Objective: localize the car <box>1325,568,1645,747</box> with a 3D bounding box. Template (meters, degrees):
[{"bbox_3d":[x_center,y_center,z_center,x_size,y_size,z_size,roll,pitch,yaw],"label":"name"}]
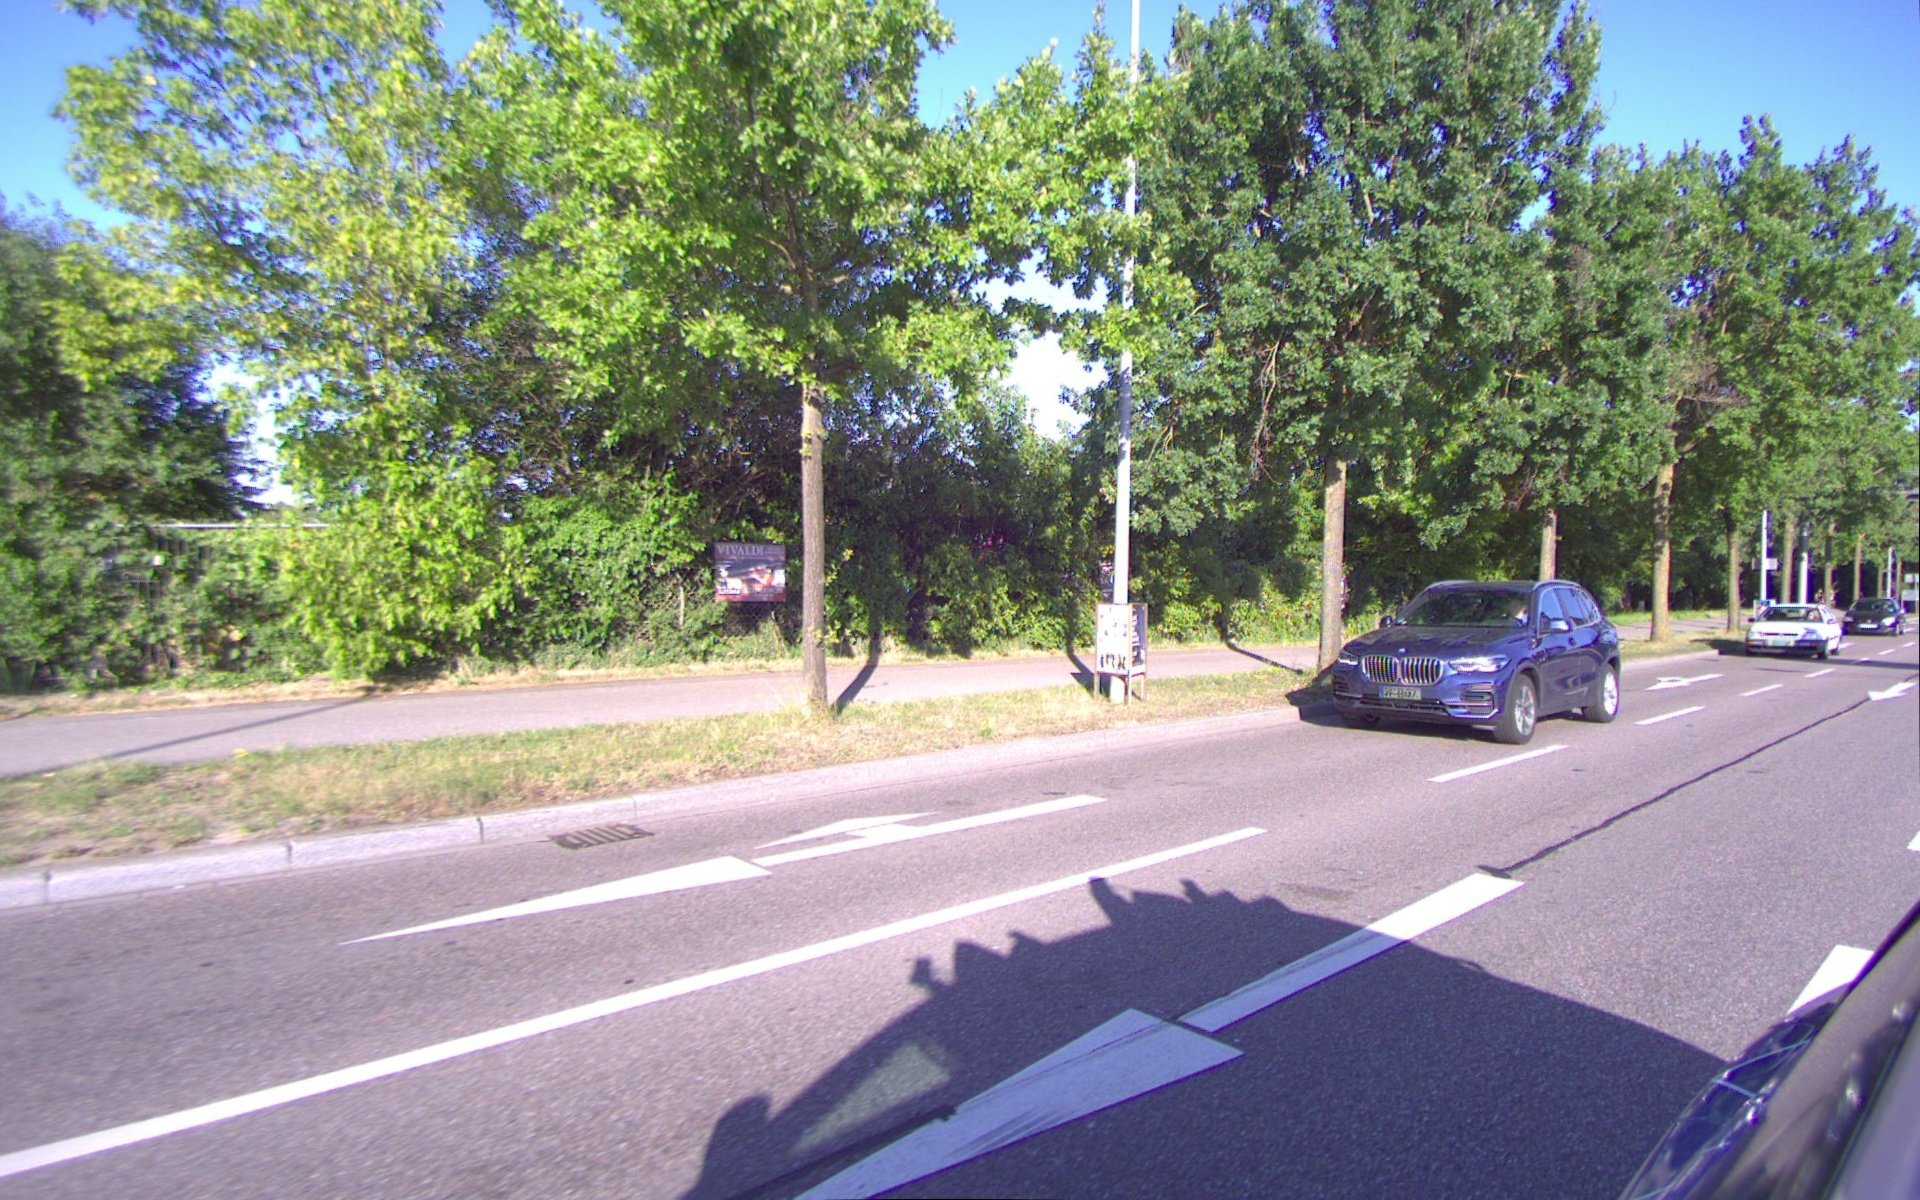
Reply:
[{"bbox_3d":[6.433,0.521,12.150,4.619,1.748,1.957,-1,1,-42],"label":"car"}]

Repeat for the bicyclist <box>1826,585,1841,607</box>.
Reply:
[{"bbox_3d":[59.872,-0.270,69.345,0.833,1.520,0.614,0,1,-39],"label":"bicyclist"}]

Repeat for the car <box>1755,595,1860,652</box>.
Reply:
[{"bbox_3d":[22.894,0.618,27.297,3.968,1.416,1.613,1,0,-42],"label":"car"}]

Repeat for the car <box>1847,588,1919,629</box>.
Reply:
[{"bbox_3d":[35.843,0.322,39.274,4.142,1.518,1.723,1,0,-42],"label":"car"}]
